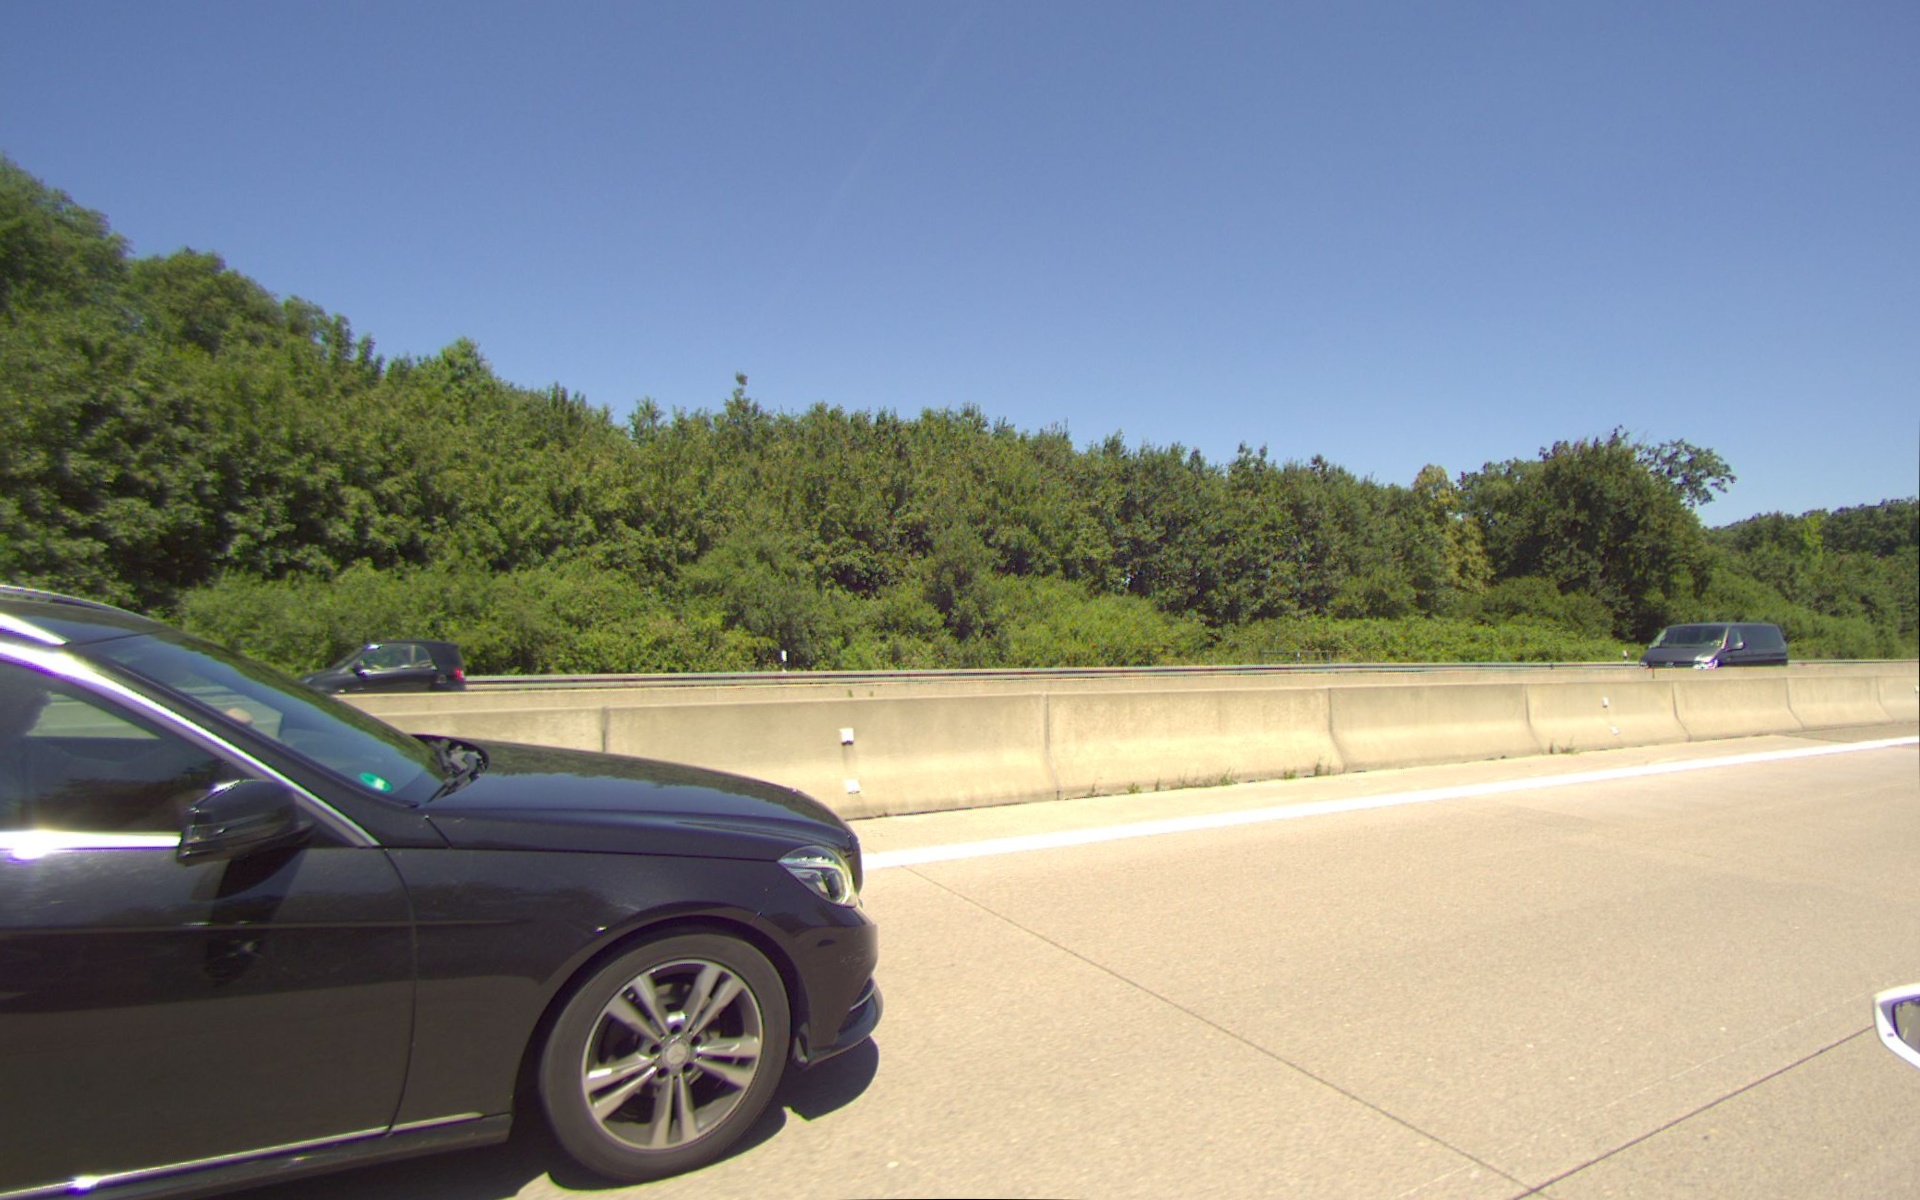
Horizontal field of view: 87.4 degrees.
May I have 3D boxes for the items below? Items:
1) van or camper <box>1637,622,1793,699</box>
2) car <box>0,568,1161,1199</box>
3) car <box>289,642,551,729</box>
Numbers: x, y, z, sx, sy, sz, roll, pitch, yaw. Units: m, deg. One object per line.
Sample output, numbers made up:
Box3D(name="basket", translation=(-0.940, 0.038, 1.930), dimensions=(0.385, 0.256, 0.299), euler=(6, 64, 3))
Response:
Box3D(name="van or camper", translation=(20.015, 1.556, 26.596), dimensions=(4.367, 1.907, 1.838), euler=(2, -2, -31))
Box3D(name="car", translation=(-2.179, 0.702, 2.716), dimensions=(5.538, 1.493, 1.882), euler=(1, -1, -31))
Box3D(name="car", translation=(-9.646, 1.471, 18.154), dimensions=(3.952, 1.394, 1.919), euler=(2, -2, -30))
